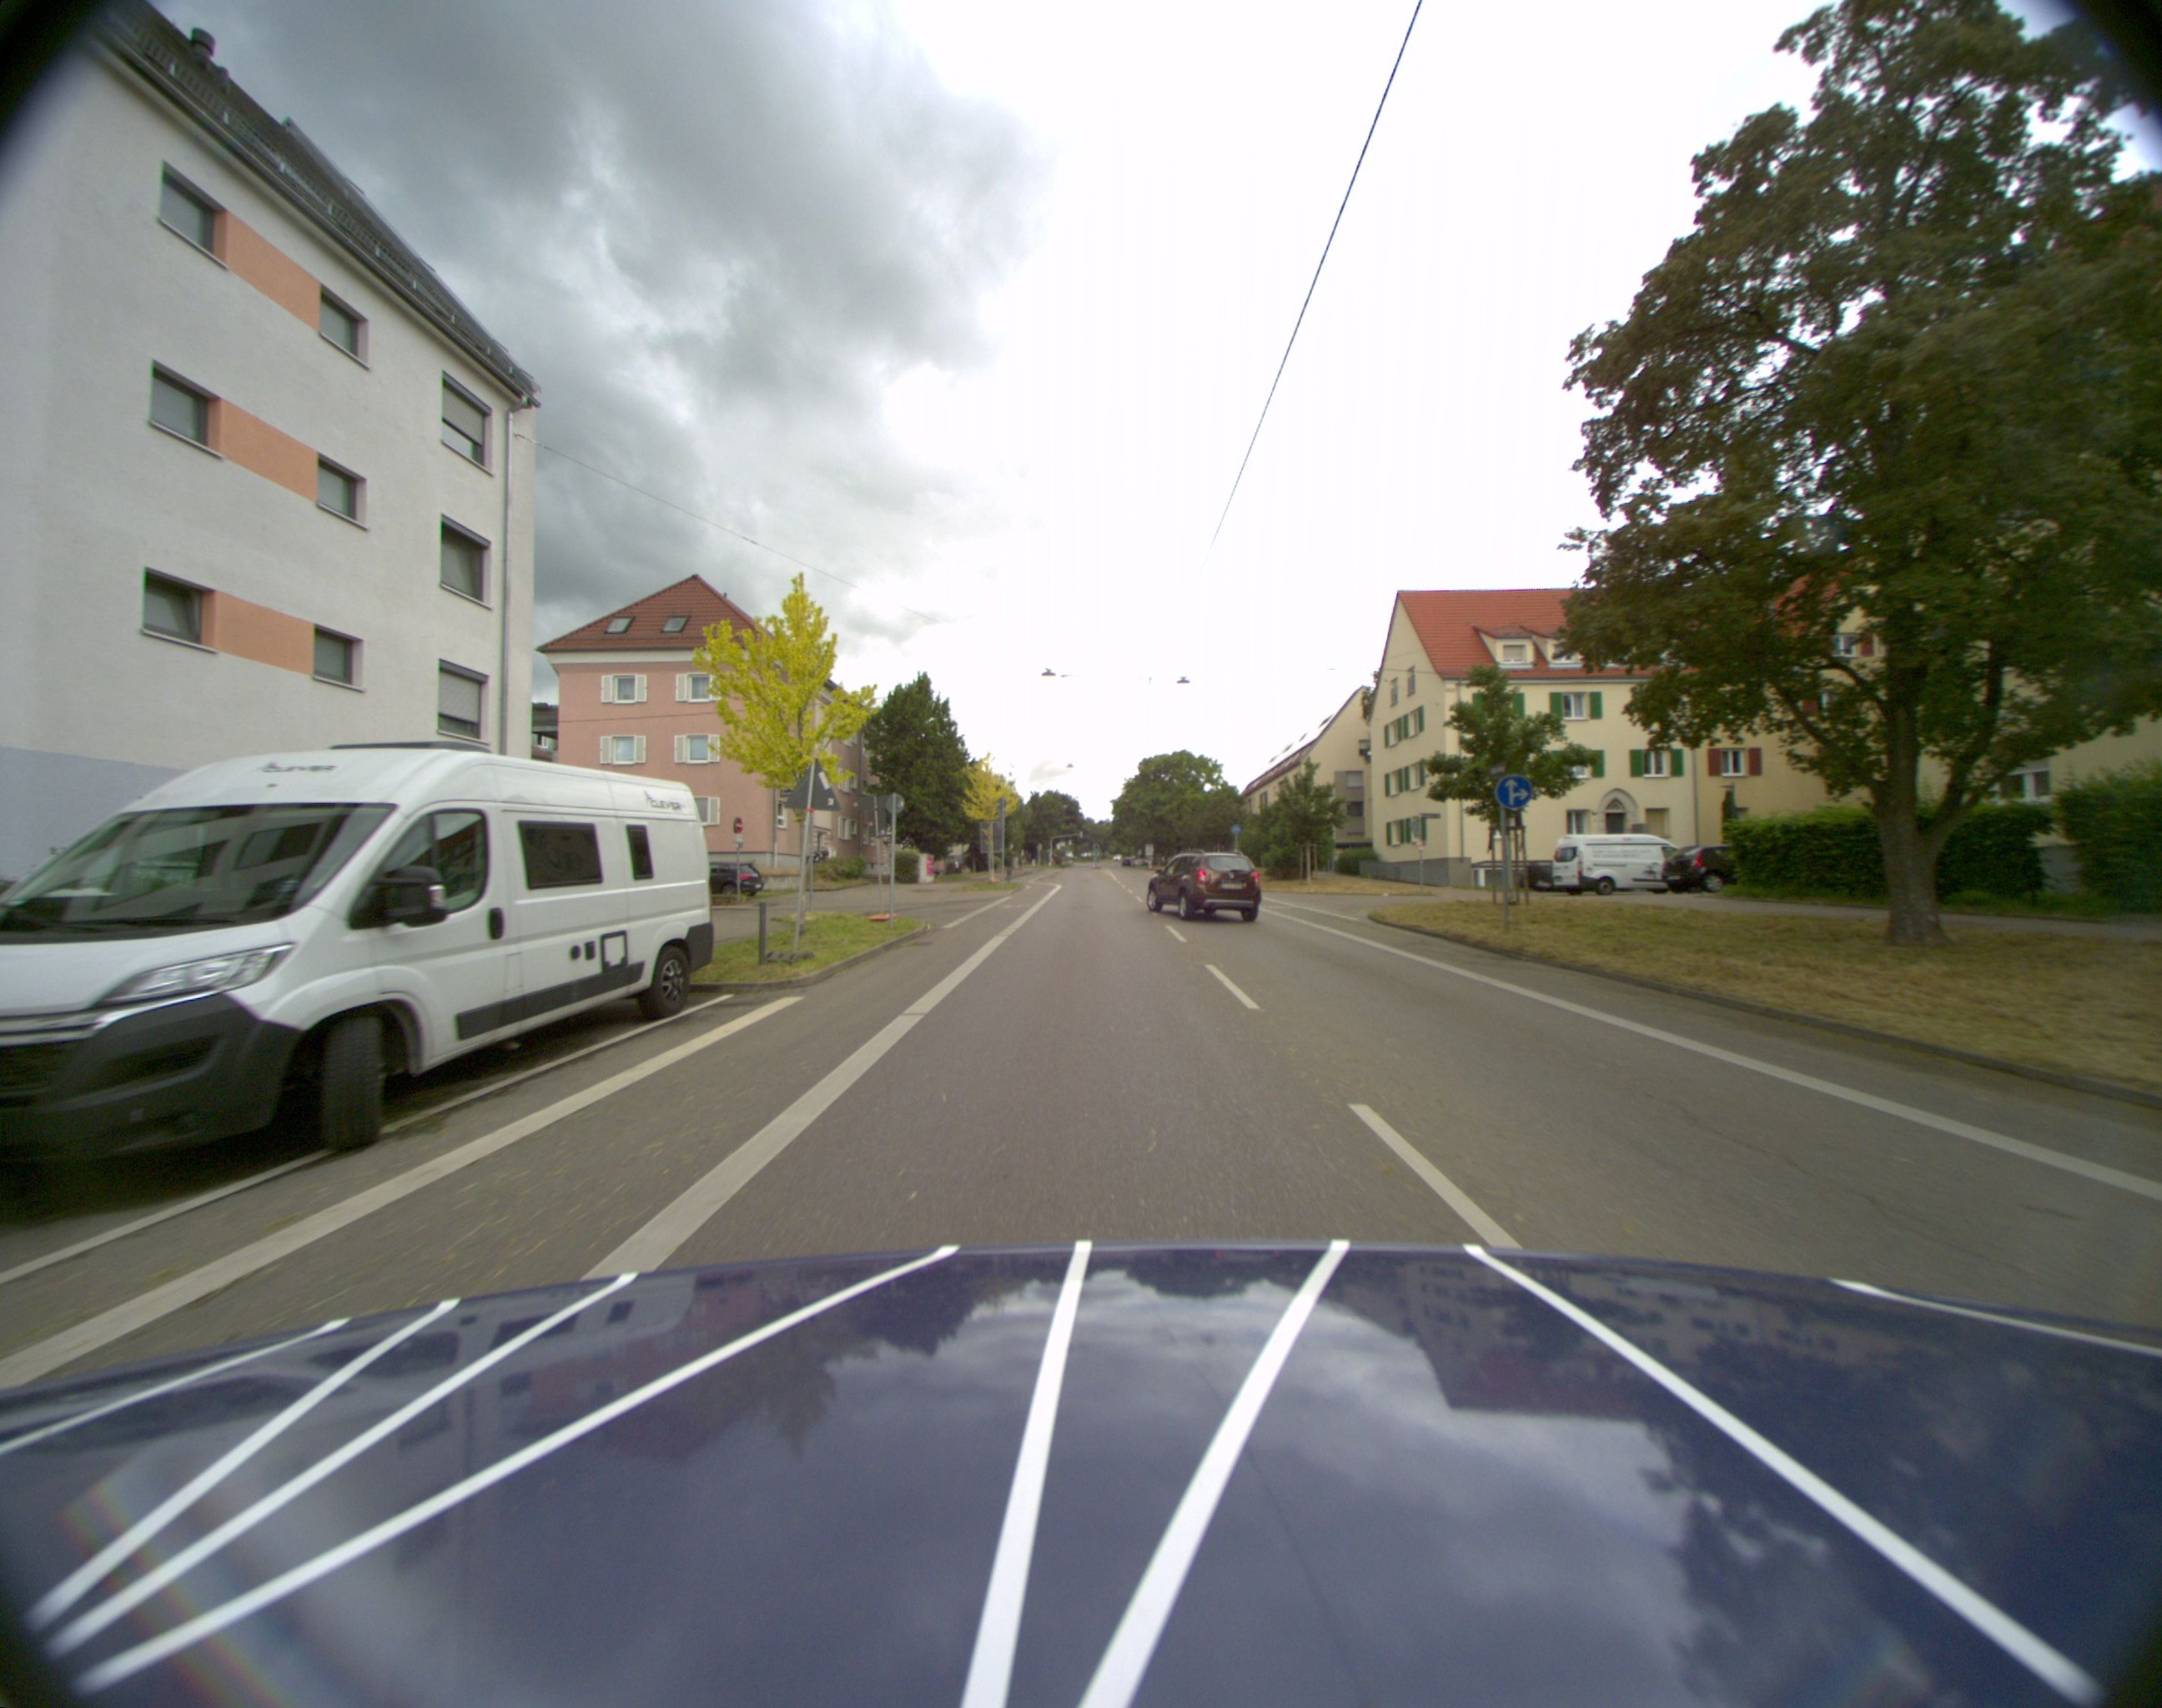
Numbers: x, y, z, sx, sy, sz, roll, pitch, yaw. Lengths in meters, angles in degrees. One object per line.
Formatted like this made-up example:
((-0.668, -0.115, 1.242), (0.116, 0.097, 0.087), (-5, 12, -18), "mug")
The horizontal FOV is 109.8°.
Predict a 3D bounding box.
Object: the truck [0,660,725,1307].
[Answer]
((-5.139, 0.542, 5.835), (2.057, 2.550, 5.689), (-1, 0, 0), "truck")

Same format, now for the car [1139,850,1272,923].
((2.979, 0.733, 19.254), (1.906, 1.610, 4.357), (-1, 0, -11), "car")

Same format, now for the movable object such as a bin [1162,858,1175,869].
((14.702, 1.591, 128.343), (1.099, 1.892, 3.246), (-1, 0, -13), "movable object such as a bin")

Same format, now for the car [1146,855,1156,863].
((14.443, 1.032, 157.724), (1.860, 1.596, 4.001), (-1, 0, 2), "car")

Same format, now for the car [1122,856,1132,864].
((10.149, 1.333, 168.483), (1.997, 1.674, 4.002), (-1, 0, 6), "car")

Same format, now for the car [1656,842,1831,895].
((20.658, 0.493, 23.805), (3.914, 1.520, 1.692), (-1, -3, 1), "car")

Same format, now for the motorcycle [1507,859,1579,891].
((19.683, 0.874, 32.398), (2.598, 1.271, 1.019), (0, 1, 34), "motorcycle")

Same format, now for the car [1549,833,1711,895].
((20.837, 0.372, 28.989), (4.729, 2.240, 1.995), (0, 1, 2), "car")

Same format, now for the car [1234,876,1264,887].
((25.077, 4.111, 113.295), (4.019, 1.455, 1.811), (1, 0, 26), "car")

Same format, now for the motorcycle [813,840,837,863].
((-13.761, -0.131, 40.840), (0.592, 1.220, 1.967), (-1, 0, 1), "motorcycle")

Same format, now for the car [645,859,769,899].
((-14.537, 0.963, 29.657), (3.997, 1.445, 1.688), (0, 2, 1), "car")
